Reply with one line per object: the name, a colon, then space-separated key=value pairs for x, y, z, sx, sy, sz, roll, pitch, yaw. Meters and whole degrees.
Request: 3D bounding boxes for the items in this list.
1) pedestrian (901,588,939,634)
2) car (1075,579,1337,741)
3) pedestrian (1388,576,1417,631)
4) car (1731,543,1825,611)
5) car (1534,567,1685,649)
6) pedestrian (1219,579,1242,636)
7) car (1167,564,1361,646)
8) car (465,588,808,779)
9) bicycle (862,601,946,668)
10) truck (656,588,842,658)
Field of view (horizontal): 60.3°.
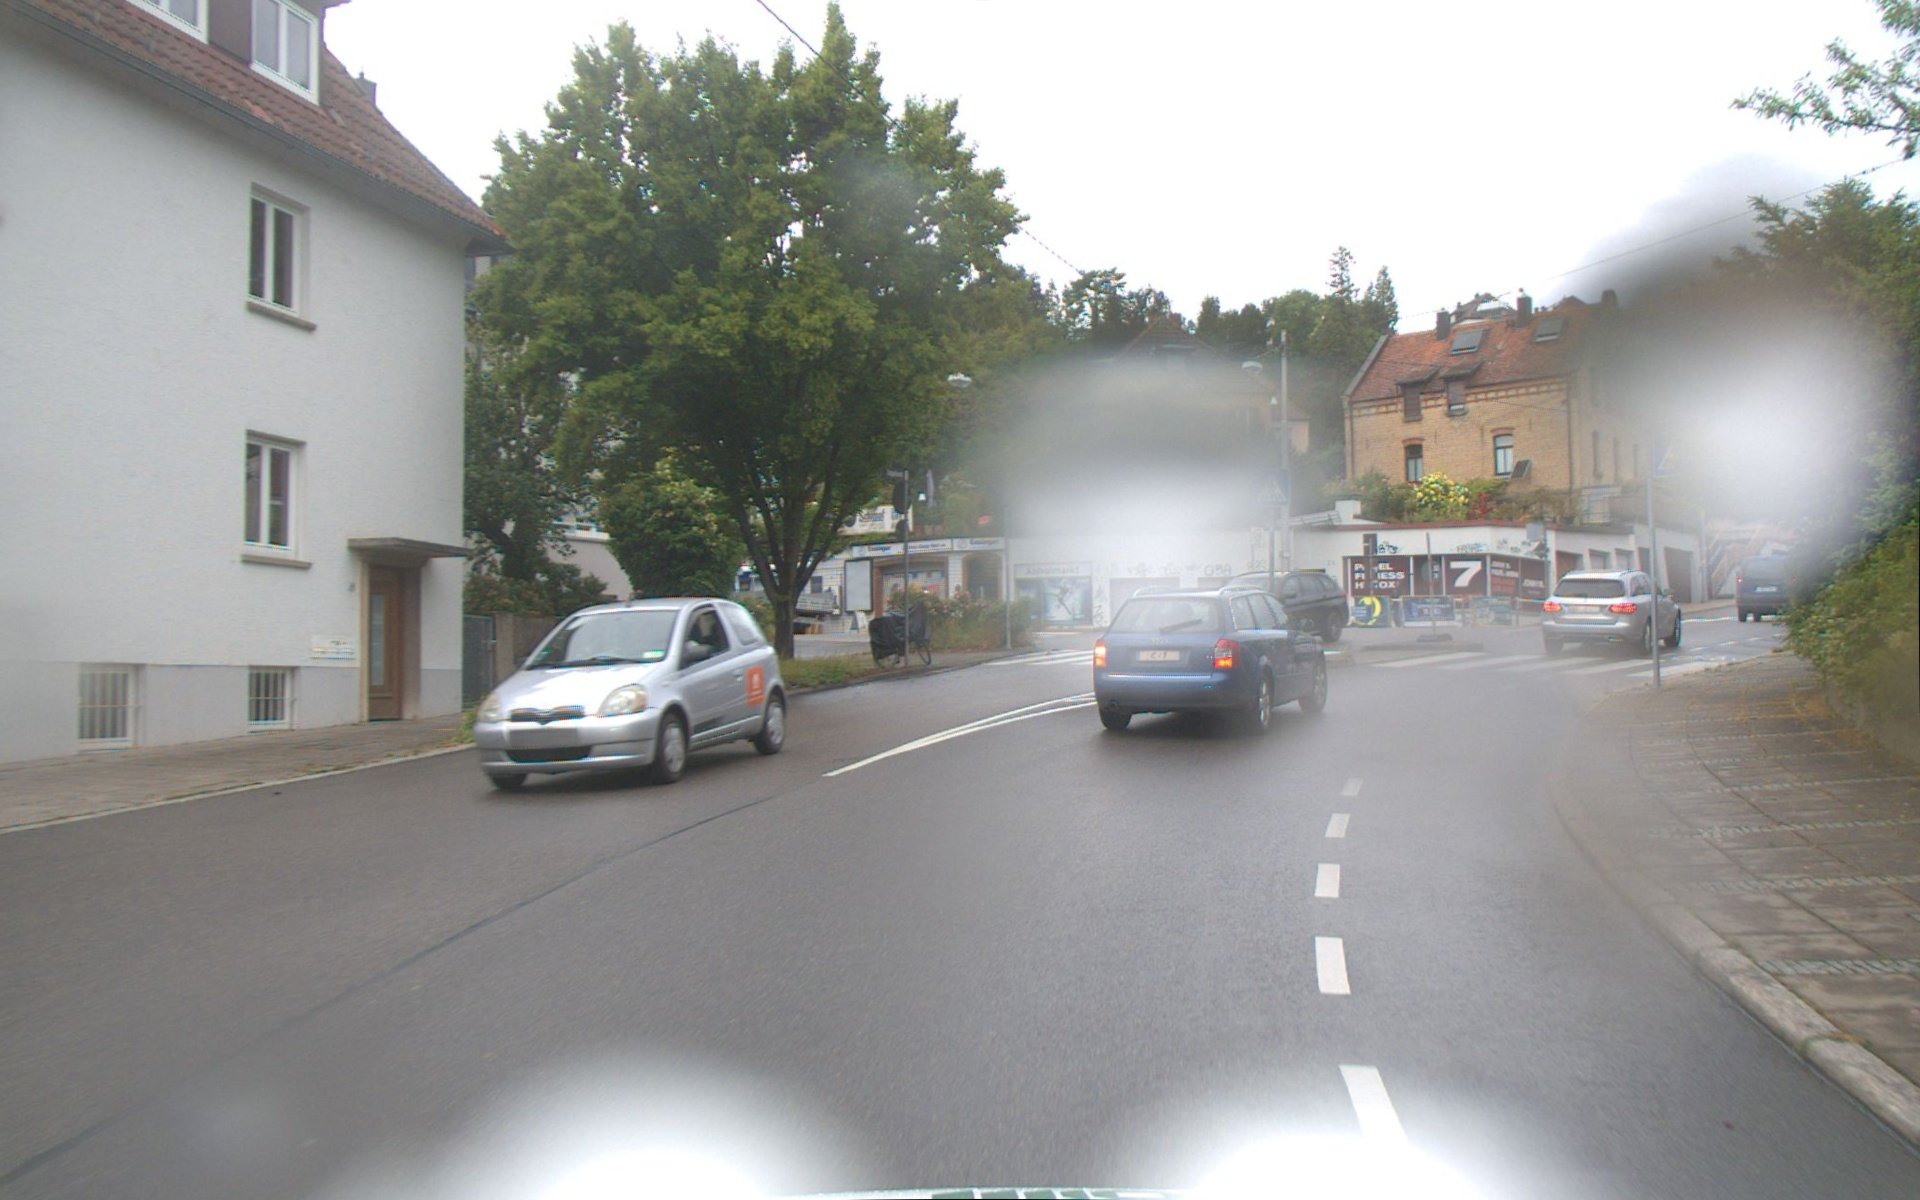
pedestrian: x=-1.365 y=0.382 z=56.687 sx=0.959 sy=1.531 sz=0.887 roll=1 pitch=2 yaw=37
car: x=2.760 y=0.535 z=17.753 sx=1.775 sy=1.464 sz=4.080 roll=0 pitch=2 yaw=24
pedestrian: x=14.116 y=0.114 z=52.753 sx=0.573 sy=1.719 sz=0.624 roll=-2 pitch=-2 yaw=-16
car: x=23.606 y=-0.677 z=47.671 sx=1.793 sy=1.851 sz=3.986 roll=-2 pitch=0 yaw=35
car: x=11.930 y=0.101 z=30.231 sx=1.780 sy=1.384 sz=3.988 roll=0 pitch=1 yaw=34
pedestrian: x=8.786 y=0.231 z=53.709 sx=0.689 sy=1.837 sz=0.809 roll=-1 pitch=0 yaw=12
car: x=6.277 y=0.096 z=33.809 sx=1.841 sy=1.518 sz=4.613 roll=-3 pitch=-2 yaw=40
car: x=-2.705 y=0.630 z=14.716 sx=1.455 sy=1.448 sz=3.860 roll=1 pitch=0 yaw=15
bicycle: x=-1.021 y=0.620 z=30.692 sx=0.413 sy=1.104 sz=1.956 roll=0 pitch=3 yaw=36
truck: x=-7.474 y=0.750 z=58.174 sx=6.668 sy=2.309 sz=2.308 roll=1 pitch=0 yaw=34
